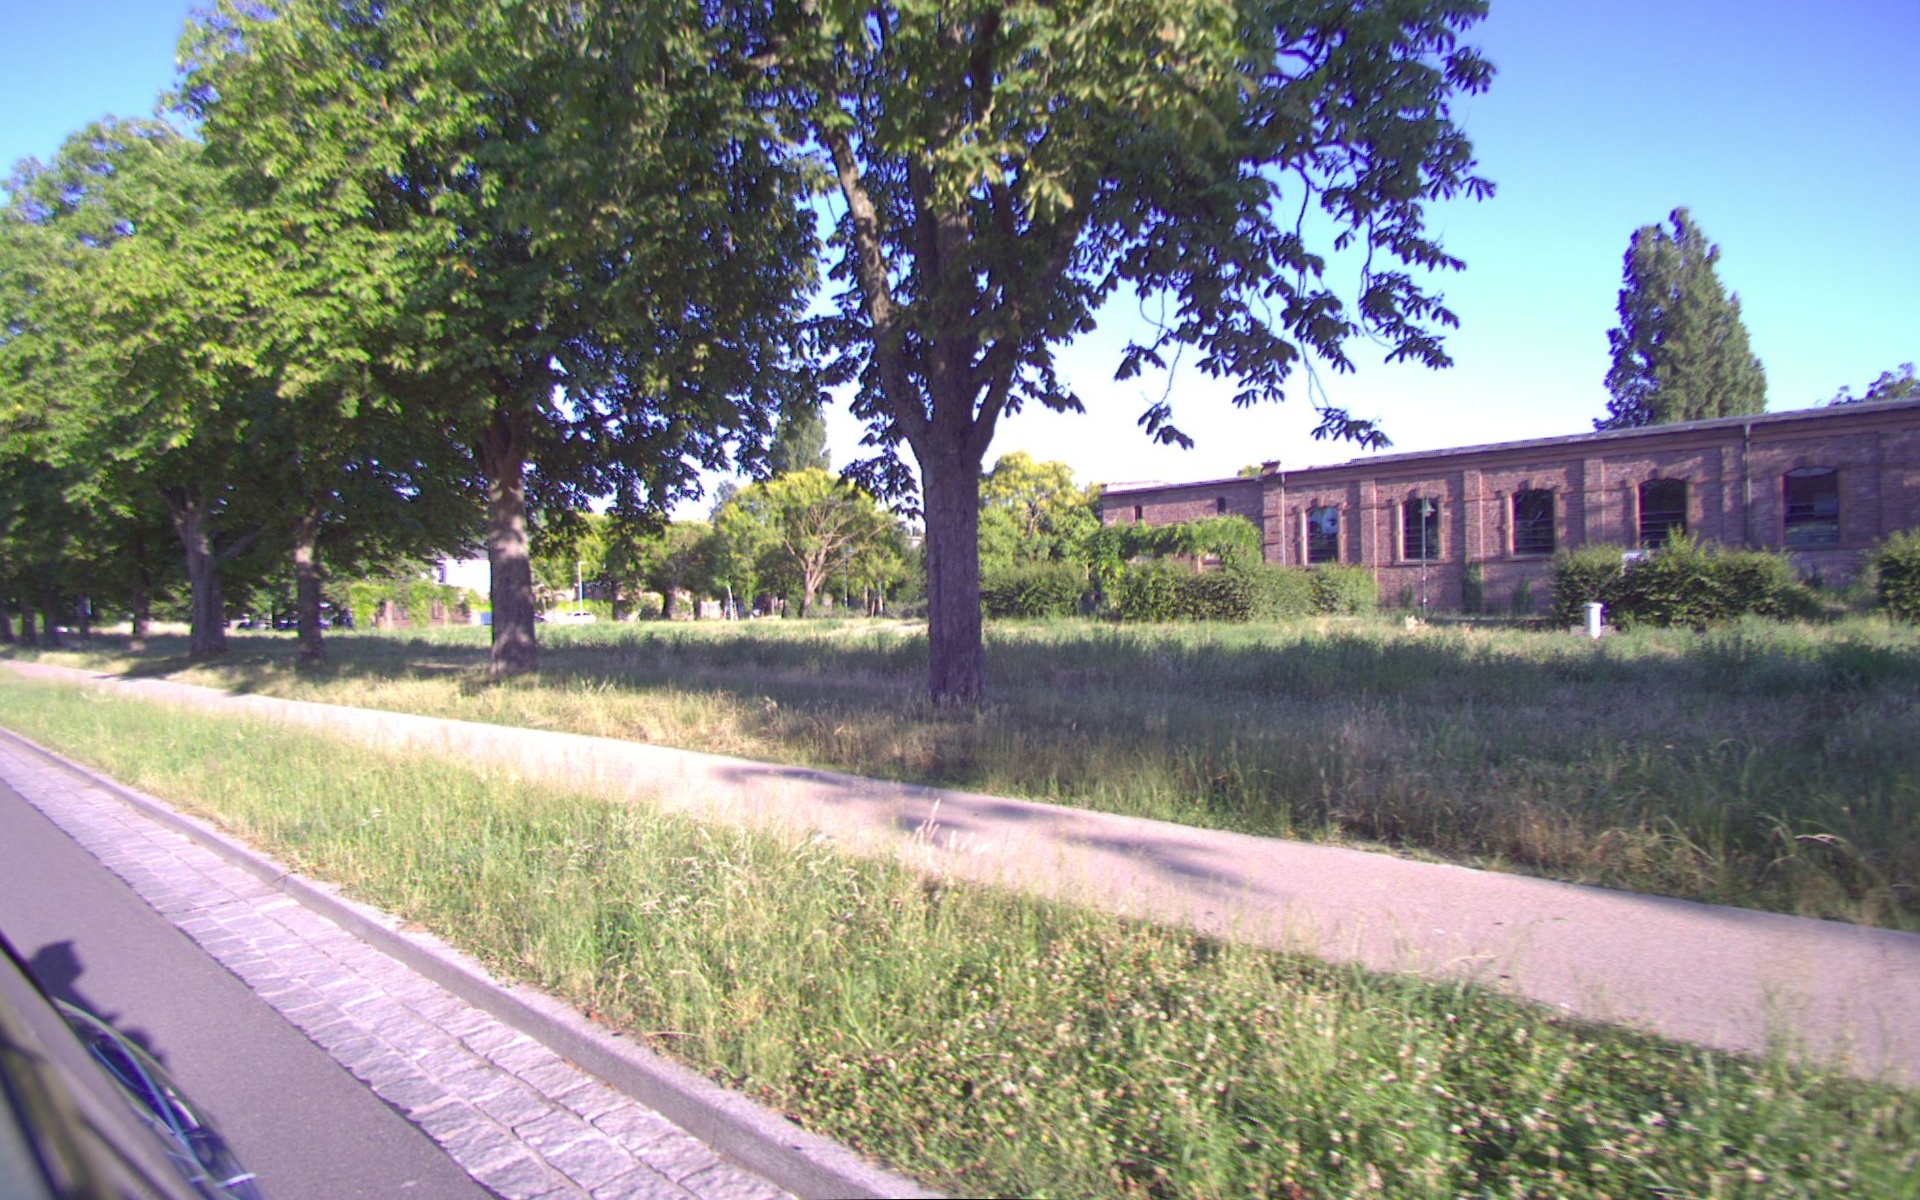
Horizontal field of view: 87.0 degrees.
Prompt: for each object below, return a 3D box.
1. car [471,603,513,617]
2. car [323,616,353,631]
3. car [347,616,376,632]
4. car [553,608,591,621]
[{"bbox_3d":[-48.872,1.068,105.714,1.586,1.290,3.589,-1,1,42],"label":"car"},{"bbox_3d":[-63.748,2.412,103.713,3.639,1.492,1.564,-1,0,42],"label":"car"},{"bbox_3d":[-68.282,2.756,115.465,3.998,1.641,1.744,-2,0,41],"label":"car"},{"bbox_3d":[-43.332,1.617,112.971,1.586,1.290,3.589,-1,1,42],"label":"car"}]
